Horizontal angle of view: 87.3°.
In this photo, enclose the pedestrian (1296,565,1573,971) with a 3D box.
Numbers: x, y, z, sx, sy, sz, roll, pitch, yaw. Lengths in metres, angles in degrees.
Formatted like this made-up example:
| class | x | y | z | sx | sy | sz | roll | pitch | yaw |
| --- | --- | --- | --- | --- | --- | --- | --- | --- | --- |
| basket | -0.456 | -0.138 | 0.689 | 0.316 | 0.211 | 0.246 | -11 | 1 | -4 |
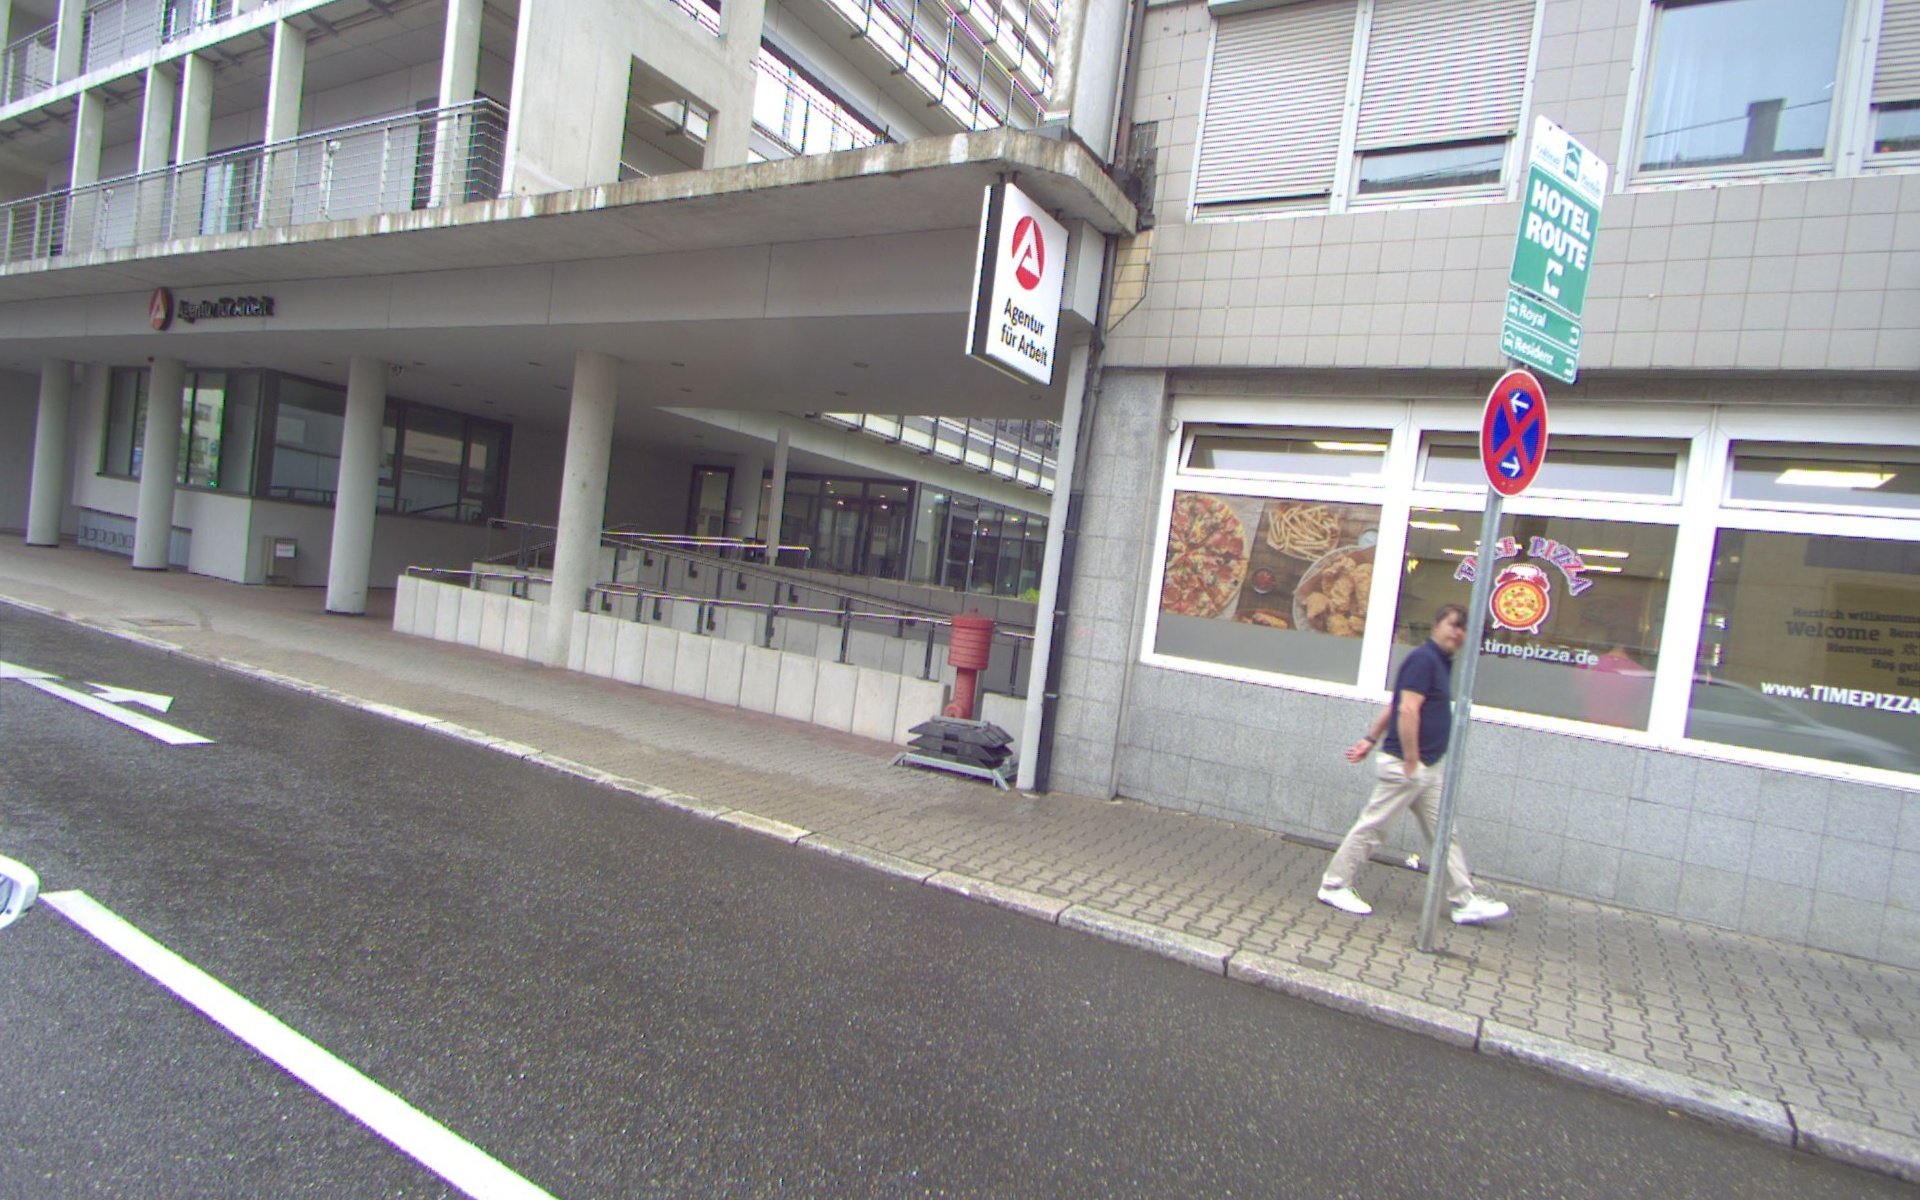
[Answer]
| class | x | y | z | sx | sy | sz | roll | pitch | yaw |
| --- | --- | --- | --- | --- | --- | --- | --- | --- | --- |
| pedestrian | 2.575 | 0.801 | 5.458 | 1.101 | 1.893 | 0.868 | 6 | 5 | 32 |
